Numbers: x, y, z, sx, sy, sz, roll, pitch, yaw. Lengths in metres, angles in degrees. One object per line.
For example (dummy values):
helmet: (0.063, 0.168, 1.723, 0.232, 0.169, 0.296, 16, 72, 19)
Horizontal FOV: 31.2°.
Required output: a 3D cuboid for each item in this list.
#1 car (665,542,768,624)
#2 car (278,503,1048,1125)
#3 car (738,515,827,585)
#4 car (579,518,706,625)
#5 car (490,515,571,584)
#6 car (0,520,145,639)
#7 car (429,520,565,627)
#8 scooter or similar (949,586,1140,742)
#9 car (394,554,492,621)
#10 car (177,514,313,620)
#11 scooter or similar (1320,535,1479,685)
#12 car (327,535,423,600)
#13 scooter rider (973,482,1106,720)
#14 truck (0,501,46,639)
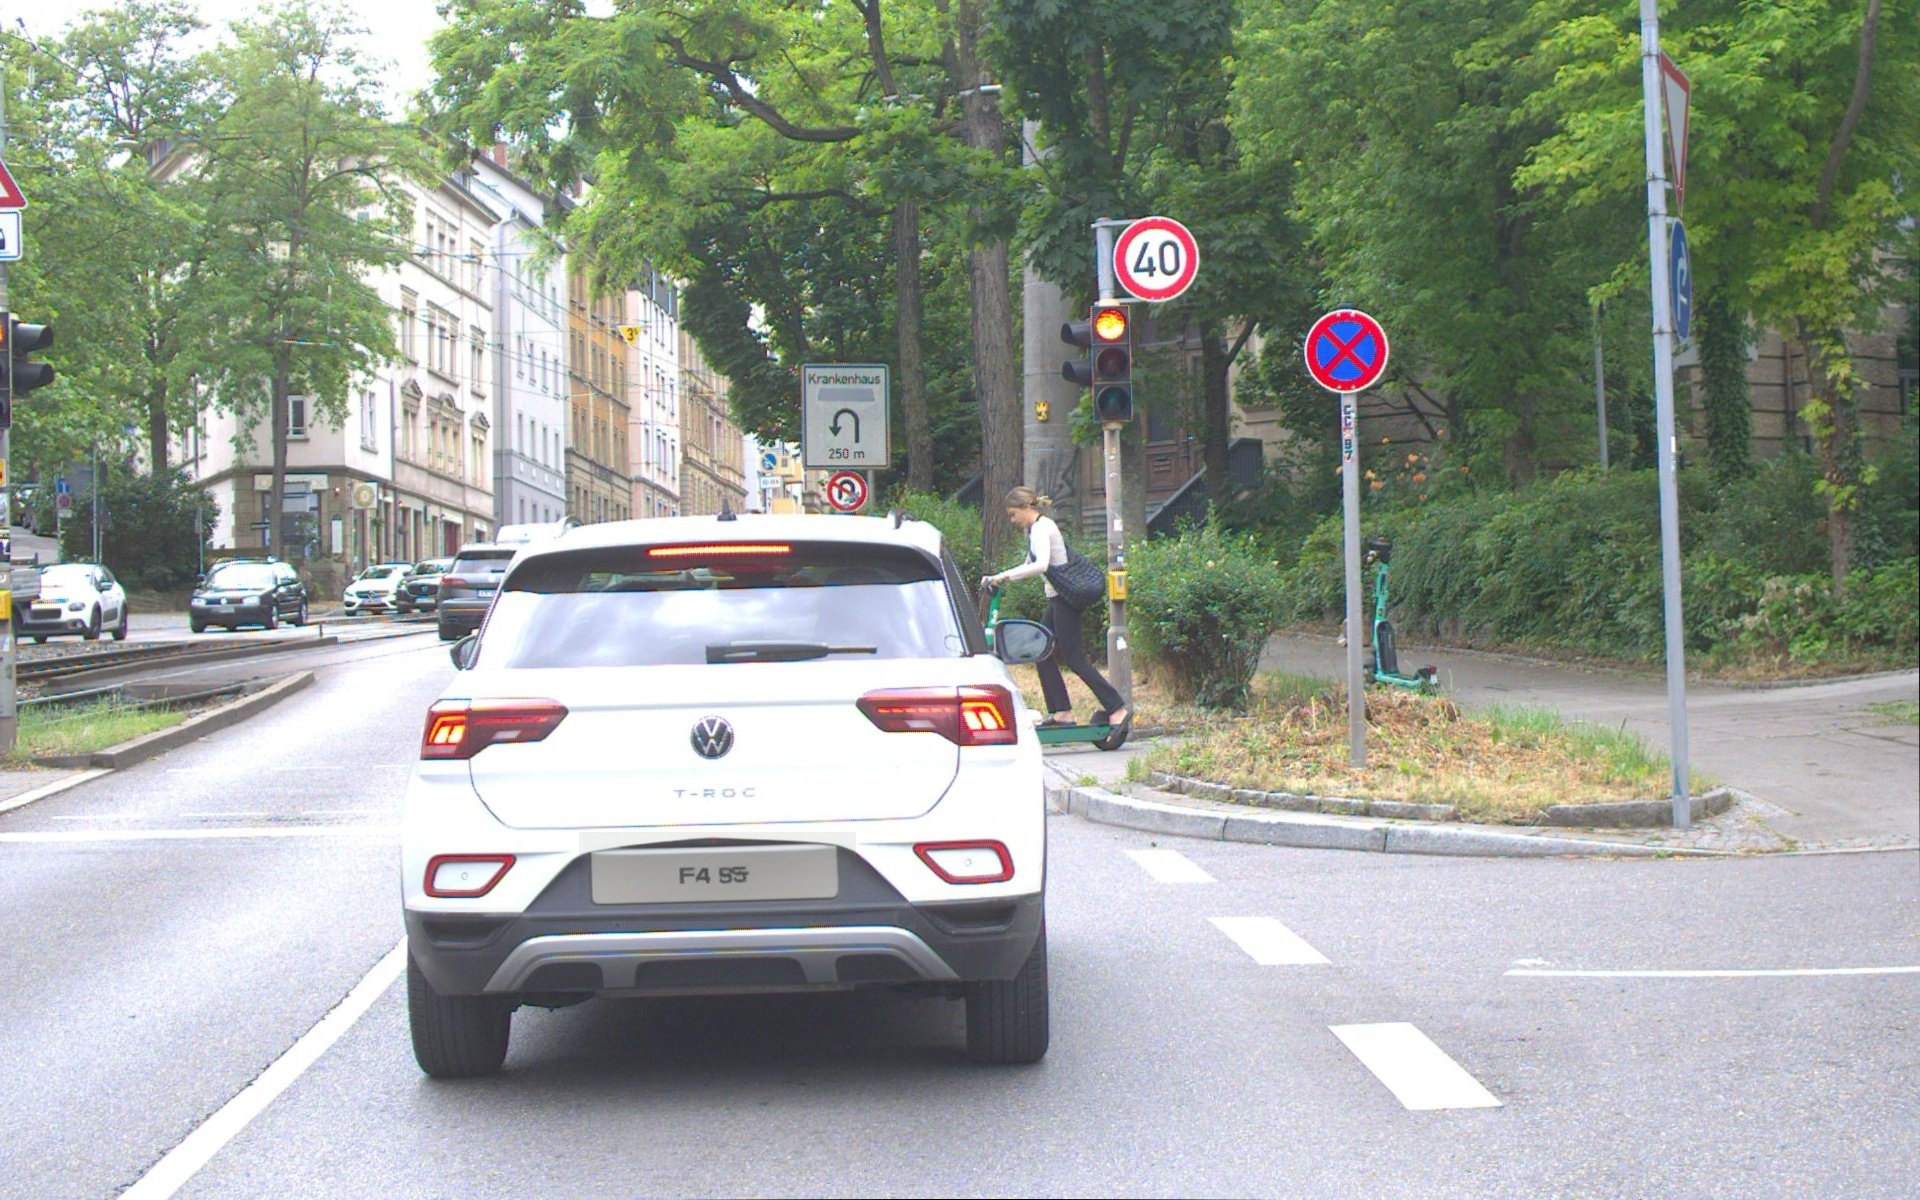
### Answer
car: (-5.314, -0.351, 75.386, 1.993, 1.618, 4.000, 2, -2, -1)
car: (-0.765, 0.502, 10.740, 1.938, 1.561, 4.046, -1, 1, 0)
car: (-5.742, -1.635, 111.829, 2.422, 2.162, 6.033, -2, 1, 1)
car: (-5.158, -0.432, 56.202, 1.902, 1.569, 3.834, 2, -2, -3)
car: (-13.088, -1.544, 104.912, 1.993, 2.007, 4.000, -2, 1, -1)
car: (-16.385, -0.342, 62.831, 1.993, 2.007, 4.000, 2, -2, -1)
car: (-8.039, -0.475, 59.981, 1.839, 1.734, 4.000, -2, 1, -1)
scooter or similar: (0.571, 0.425, 23.063, 1.187, 0.991, 0.531, -2, 1, 9)
car: (-13.674, -0.312, 91.119, 1.993, 1.618, 4.000, 2, -2, -1)
car: (-14.804, -0.663, 71.358, 1.993, 2.007, 4.000, 2, -2, -1)
scooter or similar: (3.315, 0.073, 26.022, 0.474, 1.096, 1.369, -2, 1, -27)
car: (-16.223, -0.895, 95.562, 1.993, 1.618, 4.000, 2, -2, -1)
scooter rider: (0.537, 0.004, 23.059, 0.778, 1.552, 0.532, -2, 1, 9)
truck: (-16.300, -0.502, 53.247, 2.422, 2.162, 6.033, 2, 0, 2)
